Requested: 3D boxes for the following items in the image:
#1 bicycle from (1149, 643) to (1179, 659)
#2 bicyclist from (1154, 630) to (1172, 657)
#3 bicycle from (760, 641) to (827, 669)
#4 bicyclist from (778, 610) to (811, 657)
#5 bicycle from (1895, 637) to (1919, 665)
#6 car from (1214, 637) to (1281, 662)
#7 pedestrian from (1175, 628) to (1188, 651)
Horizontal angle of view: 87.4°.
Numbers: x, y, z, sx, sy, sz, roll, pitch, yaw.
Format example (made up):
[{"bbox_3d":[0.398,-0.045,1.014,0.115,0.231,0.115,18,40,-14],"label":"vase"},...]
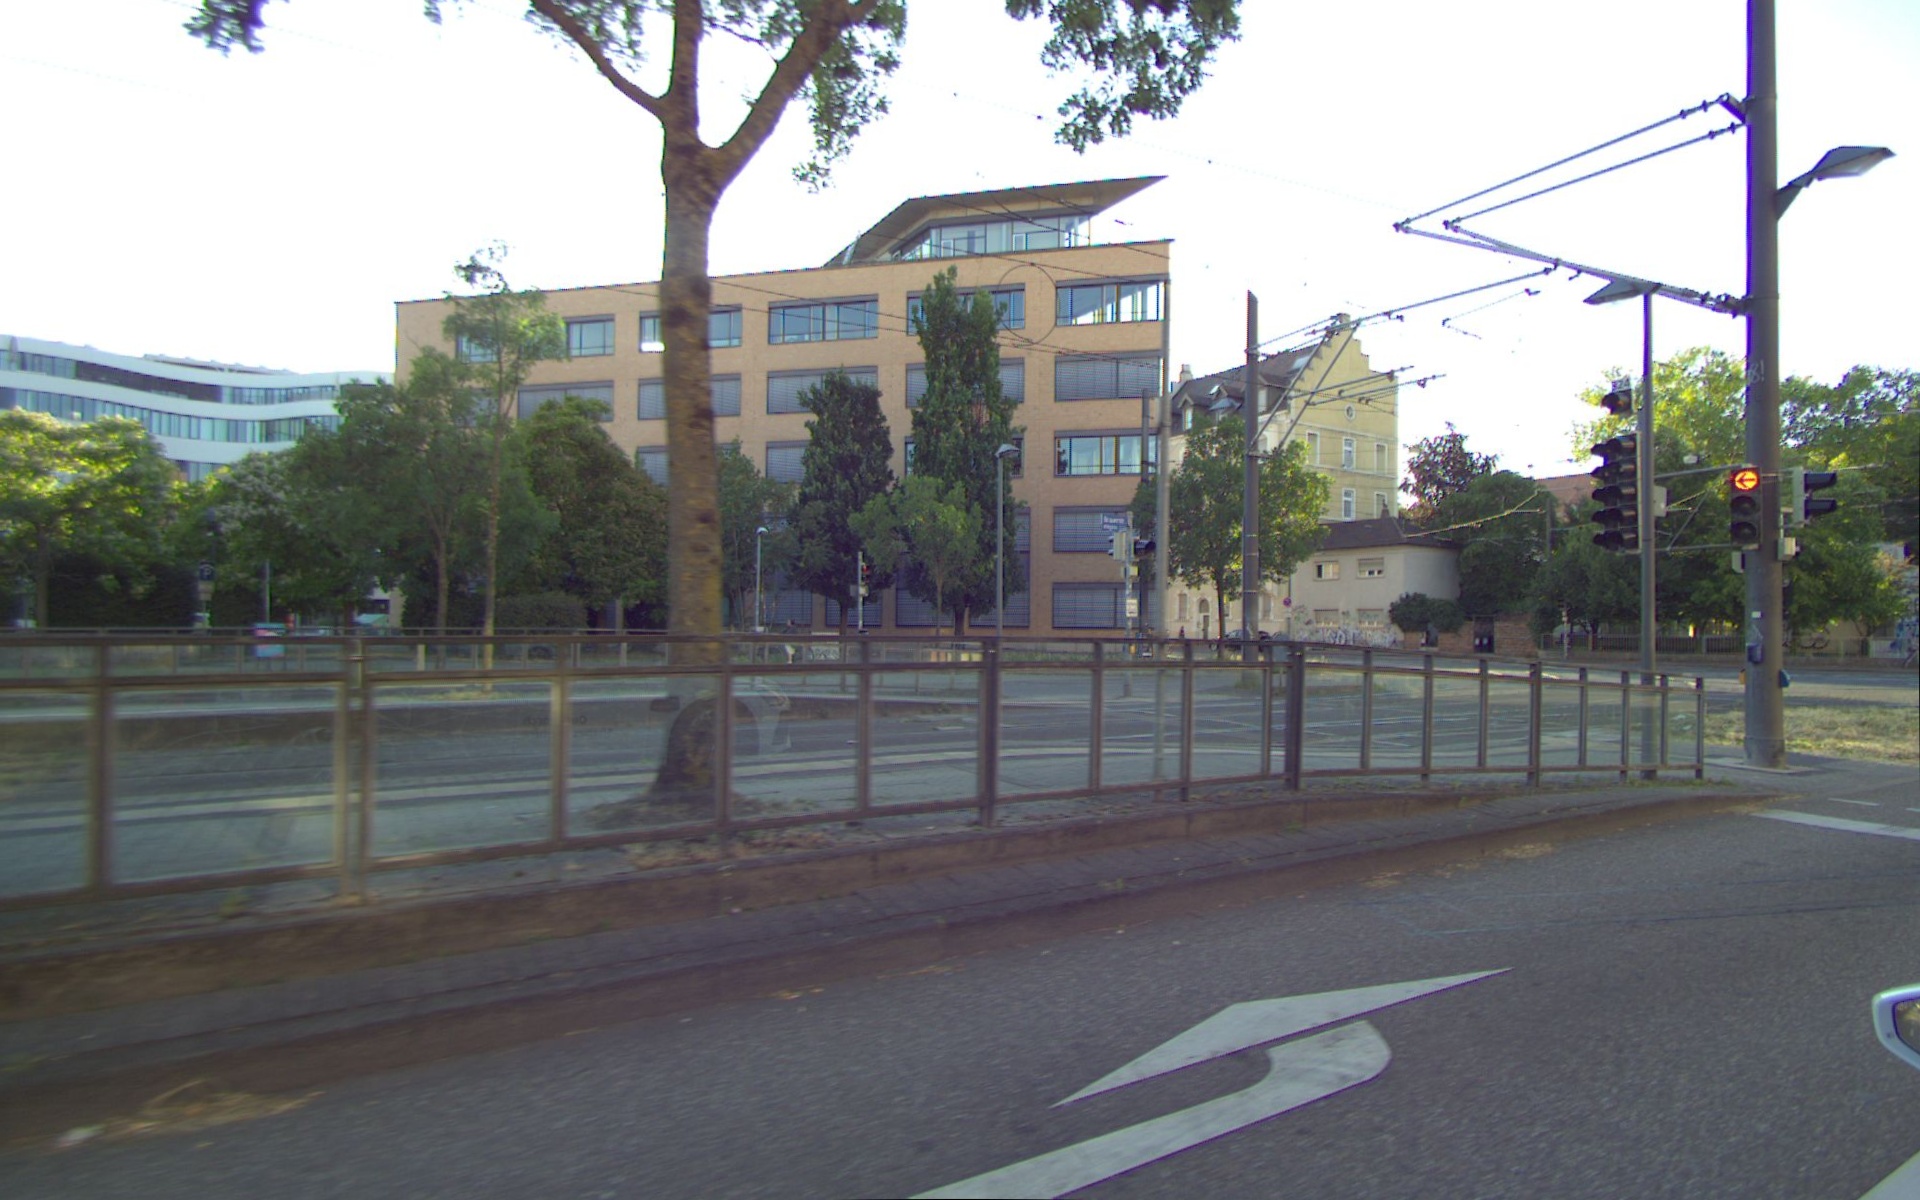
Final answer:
[{"bbox_3d":[11.194,2.794,55.155,0.650,0.844,1.678,1,-2,-30],"label":"bicycle"},{"bbox_3d":[11.177,2.363,55.209,0.660,1.472,0.738,1,-2,-30],"label":"bicyclist"},{"bbox_3d":[-5.297,1.748,32.007,1.941,0.832,0.771,1,-1,-29],"label":"bicycle"},{"bbox_3d":[-5.273,1.064,32.025,0.817,1.487,0.765,1,-1,-28],"label":"bicyclist"},{"bbox_3d":[40.597,2.143,42.299,1.688,1.157,0.559,0,-1,18],"label":"bicycle"},{"bbox_3d":[18.702,3.183,65.489,1.977,1.505,3.967,1,-2,-31],"label":"car"},{"bbox_3d":[16.375,2.926,74.266,0.579,1.728,0.711,1,-1,-31],"label":"pedestrian"}]
